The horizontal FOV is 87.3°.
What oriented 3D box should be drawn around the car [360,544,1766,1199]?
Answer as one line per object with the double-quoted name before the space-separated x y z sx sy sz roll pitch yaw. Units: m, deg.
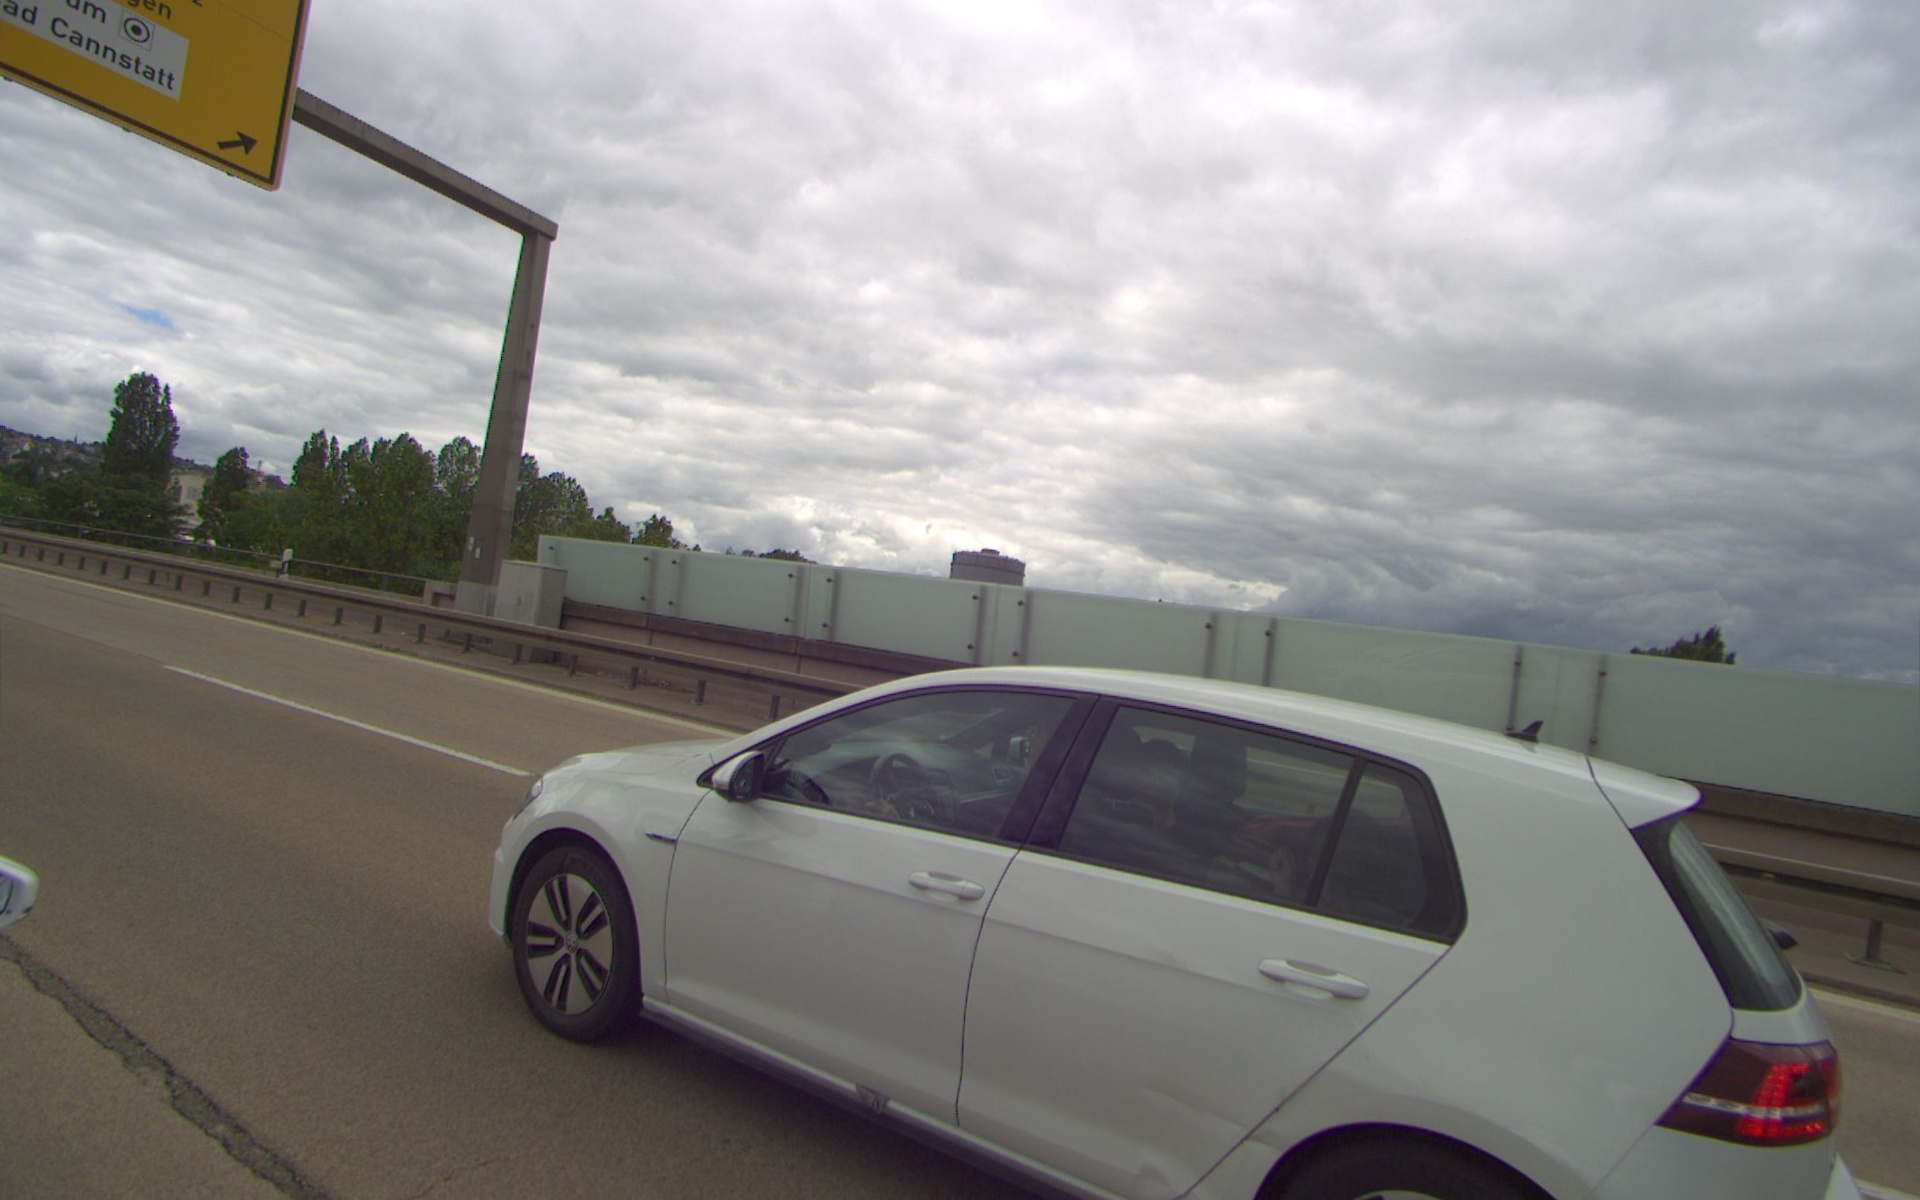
"car" -0.006 0.811 3.489 4.003 1.469 1.757 7 0 30
